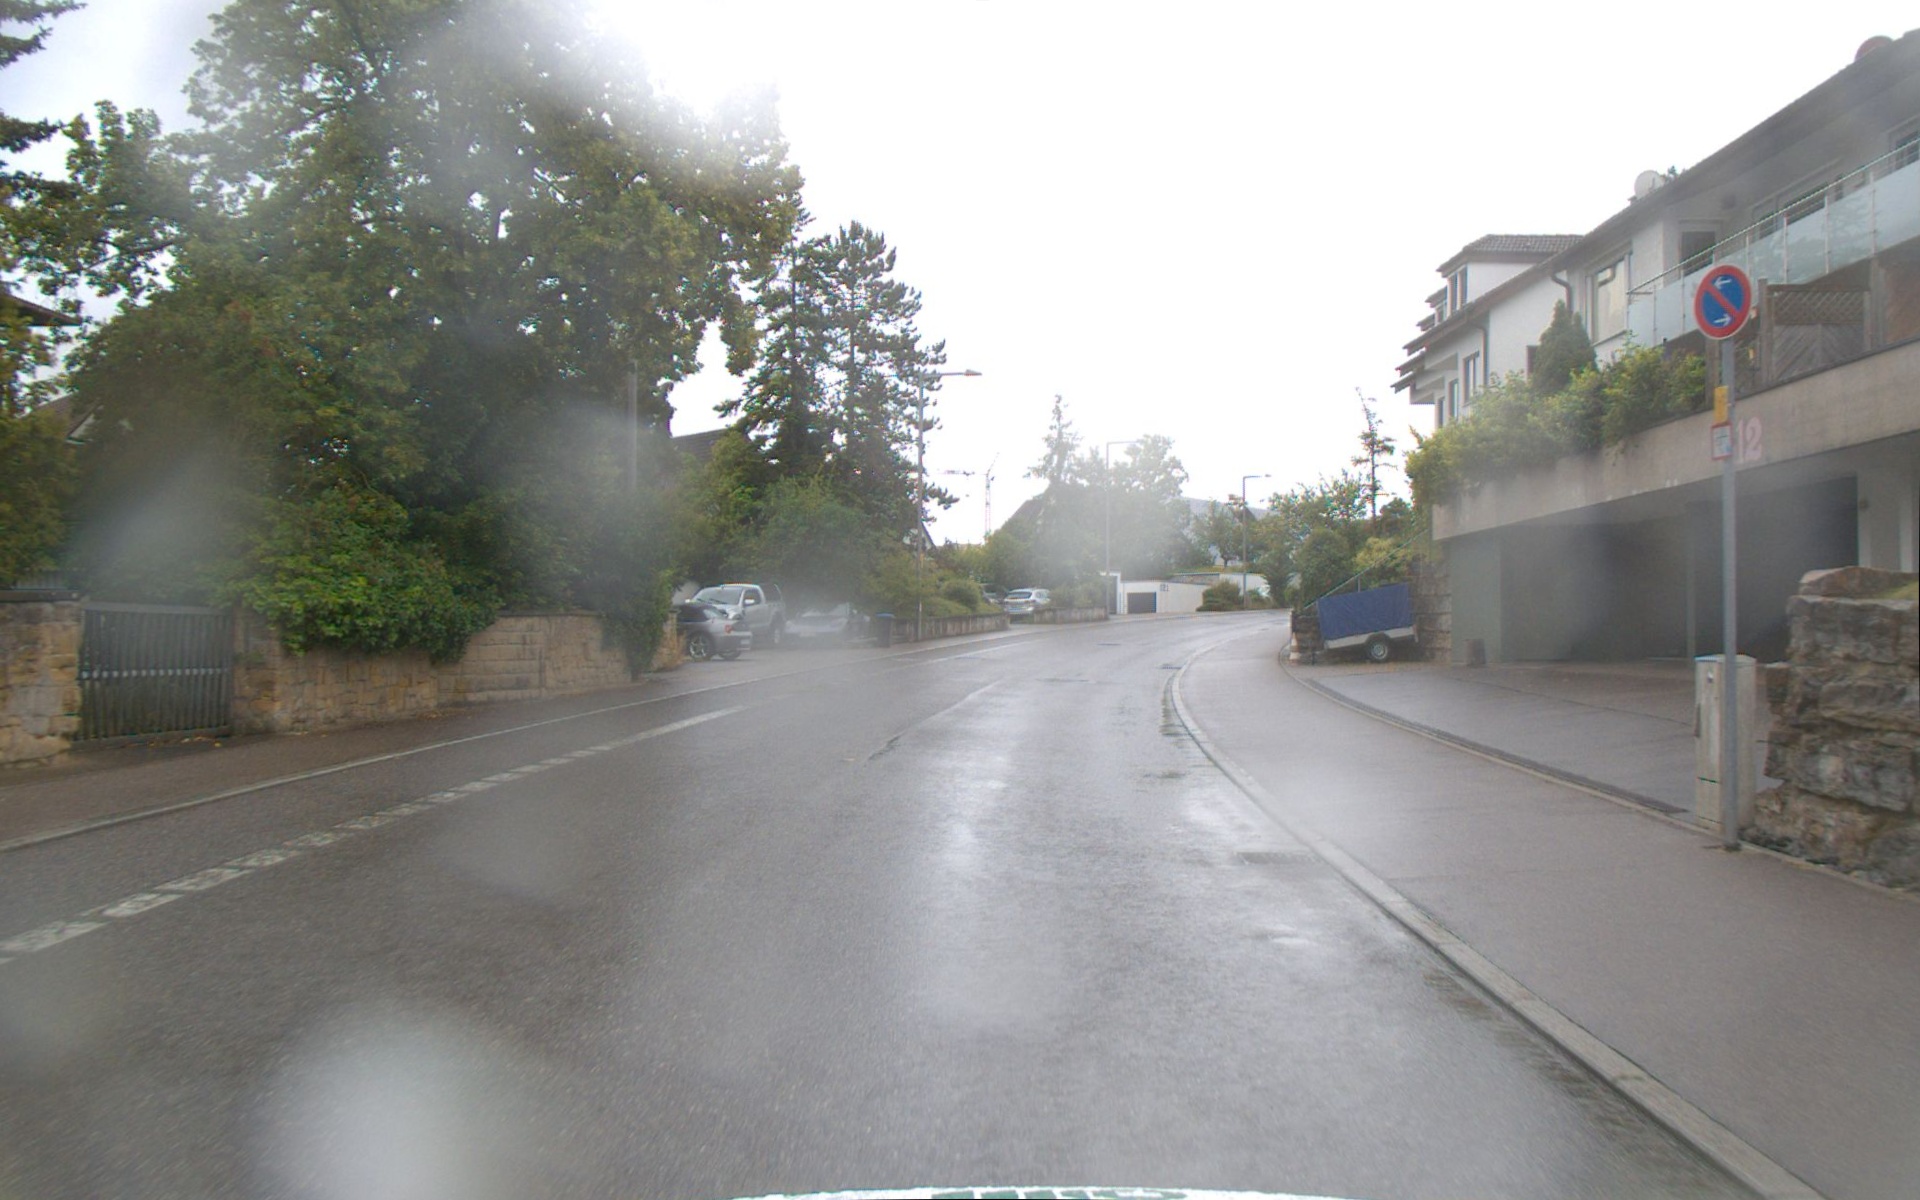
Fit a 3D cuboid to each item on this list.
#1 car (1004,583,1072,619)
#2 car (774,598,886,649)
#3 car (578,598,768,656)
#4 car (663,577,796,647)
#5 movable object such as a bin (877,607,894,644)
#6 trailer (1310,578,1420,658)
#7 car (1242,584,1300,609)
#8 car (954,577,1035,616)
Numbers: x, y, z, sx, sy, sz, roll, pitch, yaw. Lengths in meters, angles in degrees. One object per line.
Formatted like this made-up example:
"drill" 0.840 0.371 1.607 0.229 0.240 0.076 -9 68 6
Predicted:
"car" 3.571 0.024 75.021 1.700 1.578 3.998 -1 0 24
"car" -3.620 0.631 47.037 1.951 1.330 4.437 -1 0 12
"car" -6.617 0.600 38.193 3.902 1.294 1.875 0 0 16
"car" -6.469 0.293 47.127 1.951 1.876 5.483 0 0 12
"movable object such as a bin" -2.085 0.706 46.258 0.362 1.005 0.559 -1 0 10
"trailer" 9.350 0.405 38.343 2.303 1.778 2.002 0 0 9
"car" 20.831 -0.253 110.640 4.356 1.580 1.682 -1 1 -45
"car" 1.664 -0.177 81.191 1.979 1.870 3.947 -1 0 -37
